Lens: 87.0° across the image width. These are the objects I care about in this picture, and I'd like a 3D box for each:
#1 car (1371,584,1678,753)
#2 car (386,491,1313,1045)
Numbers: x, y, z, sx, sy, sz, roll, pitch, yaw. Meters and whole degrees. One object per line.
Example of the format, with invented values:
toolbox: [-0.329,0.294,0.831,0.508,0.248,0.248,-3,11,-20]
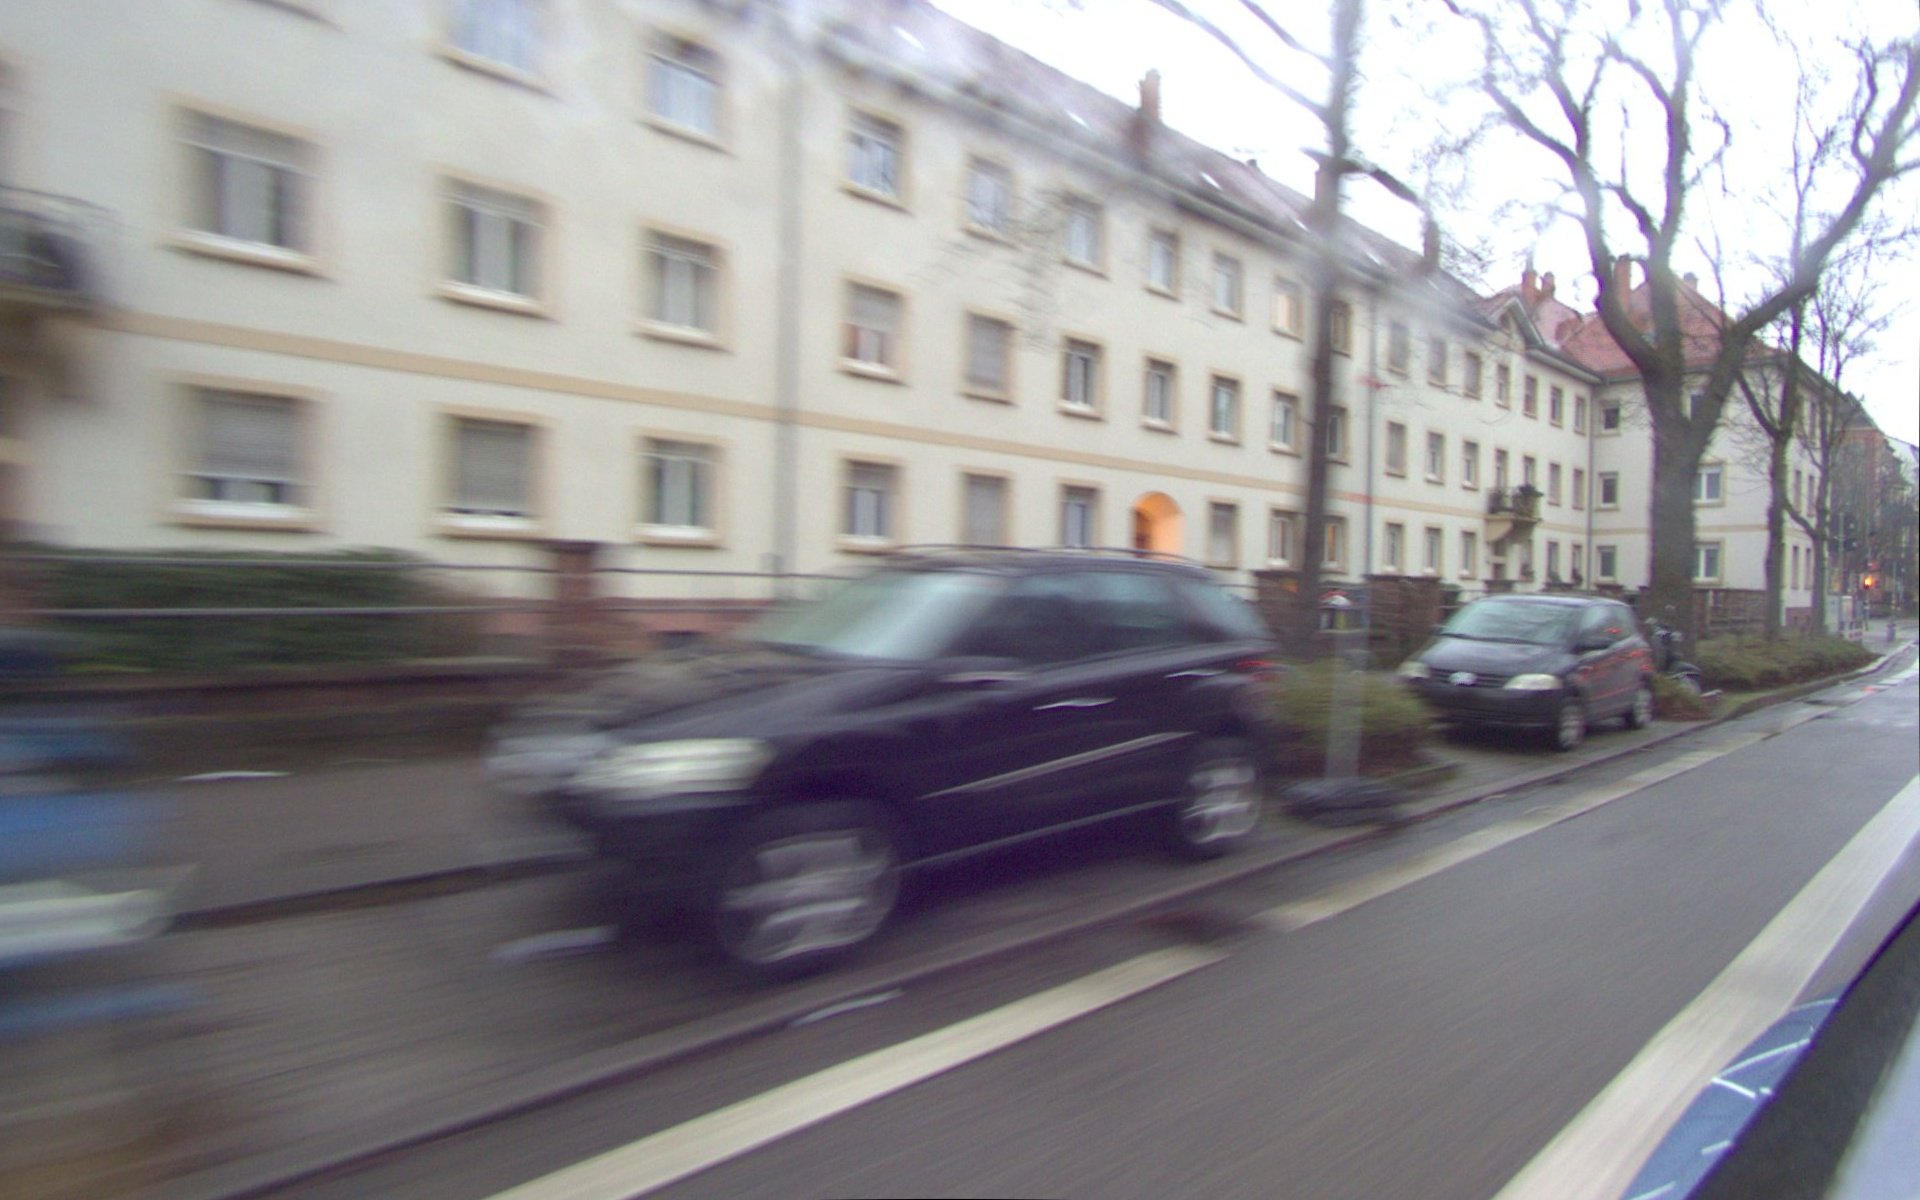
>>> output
car: [6.387,0.613,11.275,3.918,1.528,1.788,0,1,-42]
car: [-0.205,0.504,5.518,4.817,1.749,1.909,0,1,-42]
